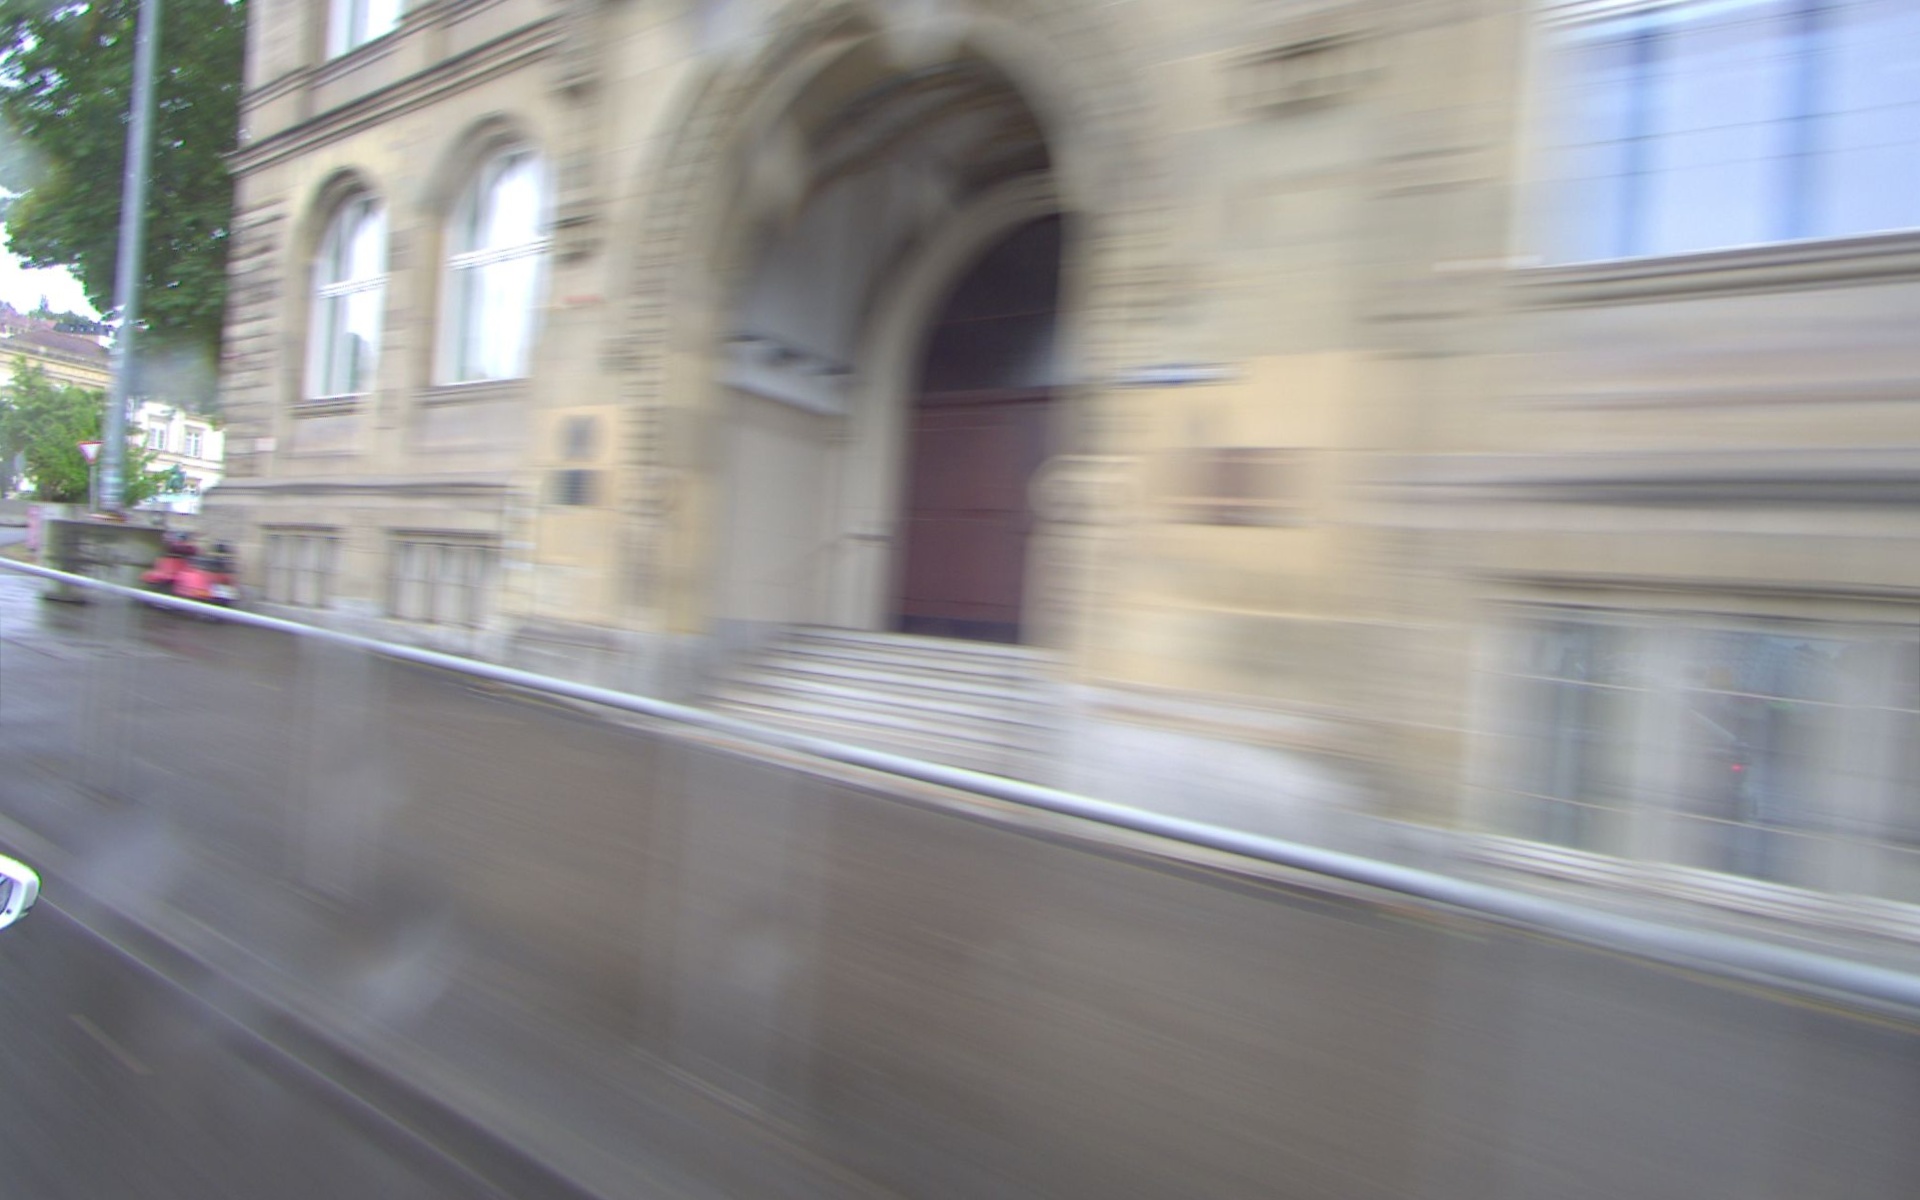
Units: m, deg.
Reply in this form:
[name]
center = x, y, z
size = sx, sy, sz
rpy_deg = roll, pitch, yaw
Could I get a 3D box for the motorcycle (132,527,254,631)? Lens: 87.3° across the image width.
[motorcycle]
center = -9.925, -0.283, 13.000
size = 1.867, 1.153, 0.547
rpy_deg = 7, 1, 32
